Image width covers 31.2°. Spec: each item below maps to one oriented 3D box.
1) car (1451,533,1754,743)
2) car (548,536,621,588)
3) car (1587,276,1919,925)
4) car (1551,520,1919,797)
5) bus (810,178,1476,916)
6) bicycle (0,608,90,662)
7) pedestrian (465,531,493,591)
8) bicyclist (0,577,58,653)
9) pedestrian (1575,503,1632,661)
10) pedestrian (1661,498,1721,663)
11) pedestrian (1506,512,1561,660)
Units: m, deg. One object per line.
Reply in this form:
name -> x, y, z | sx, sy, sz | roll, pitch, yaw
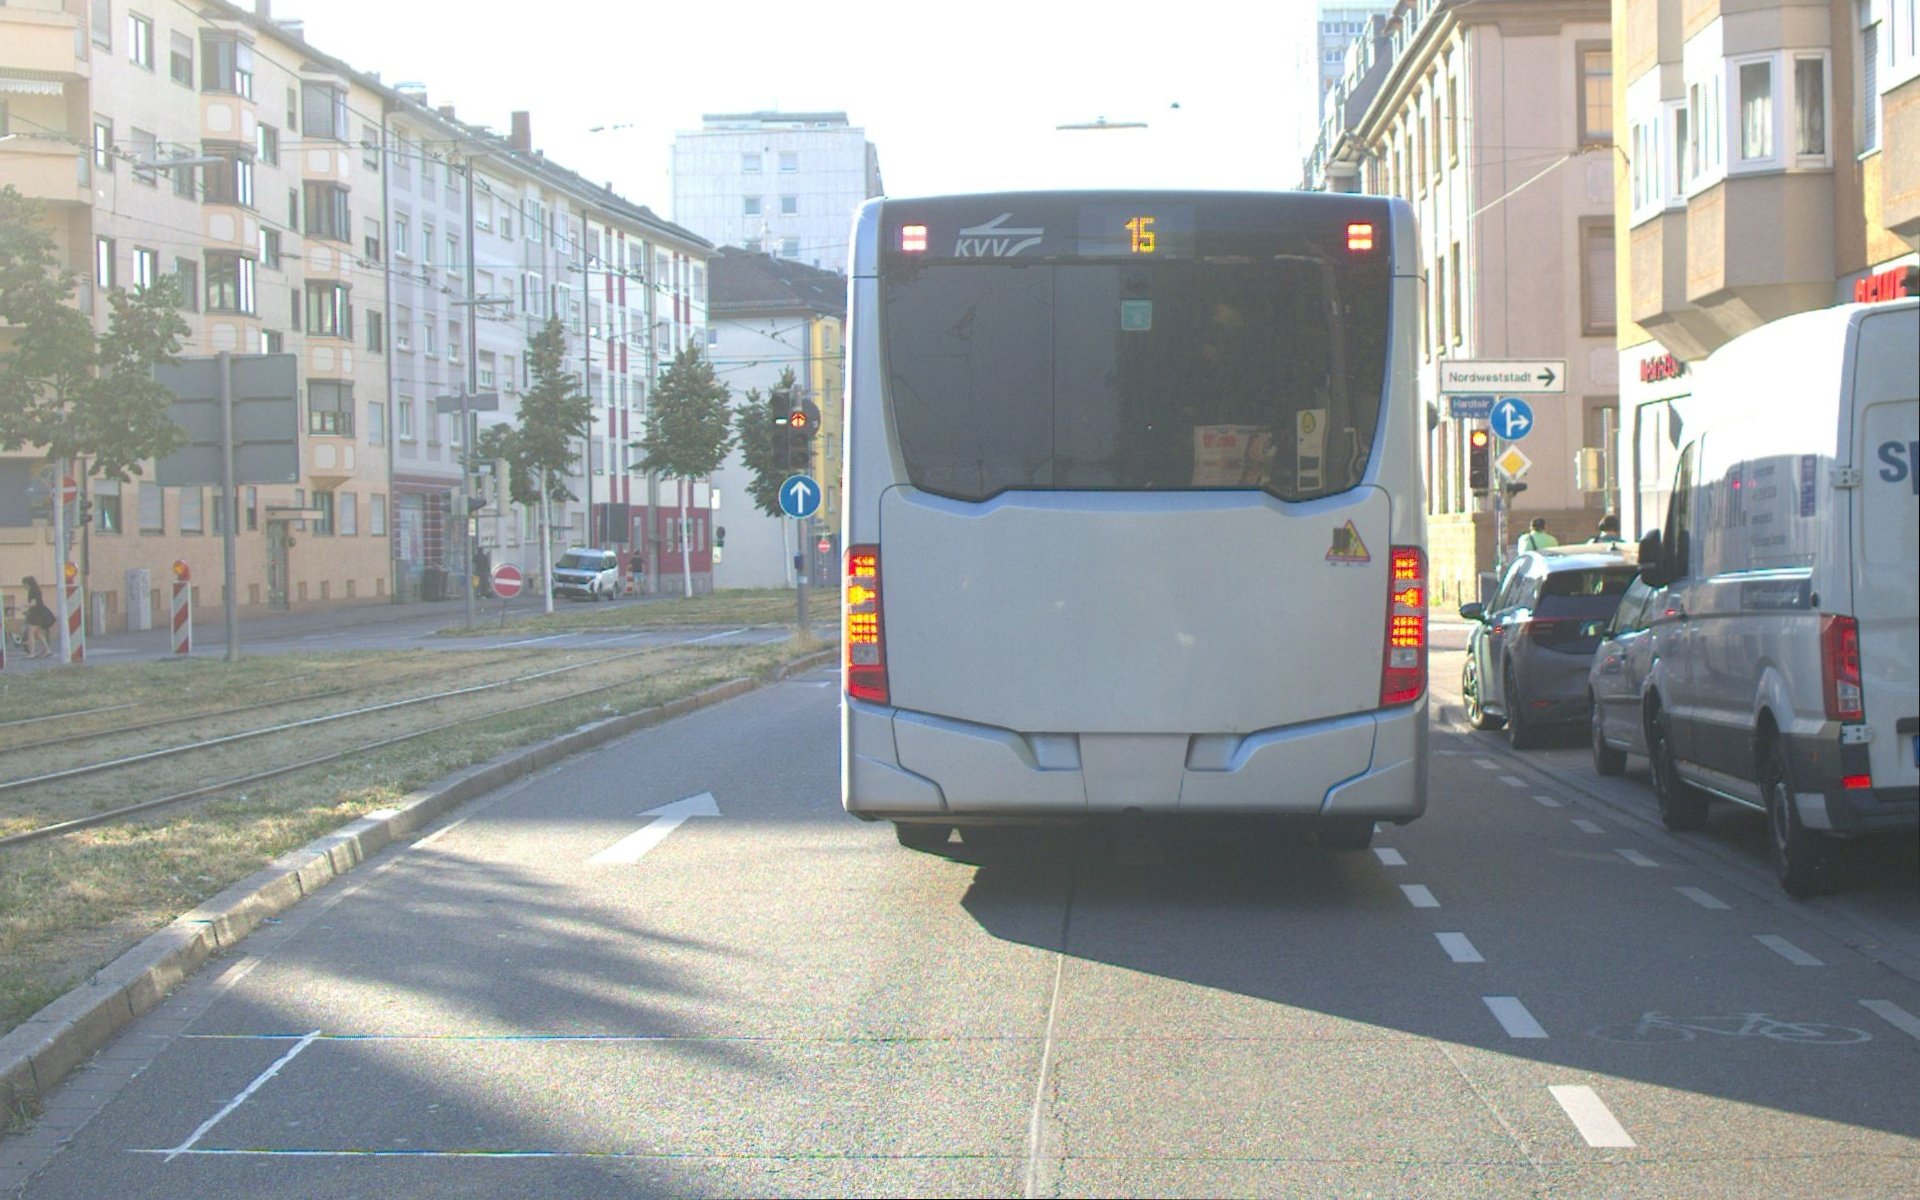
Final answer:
car -> 5.096, 0.252, 27.773 | 1.838, 1.531, 4.229 | -1, 1, 3
car -> -13.375, -1.363, 122.691 | 1.812, 1.791, 4.244 | -1, 1, 4
car -> 4.500, -0.096, 16.483 | 2.017, 2.542, 5.784 | -4, 1, 3
car -> 4.945, 0.313, 21.965 | 1.838, 1.582, 3.785 | -1, 1, 3
bus -> 0.976, -0.298, 18.719 | 2.739, 3.045, 8.853 | 1, 1, 3
bicycle -> -17.890, 0.676, 67.080 | 0.528, 0.980, 1.879 | -1, 1, 34
pedestrian -> -16.033, -1.304, 114.594 | 0.786, 2.007, 0.891 | -1, 1, 0
bicyclist -> -18.097, 0.285, 66.832 | 0.528, 1.442, 0.963 | -1, 1, 34
pedestrian -> 7.340, -0.205, 39.242 | 0.547, 1.778, 0.449 | -1, 1, 3
pedestrian -> 7.955, -0.217, 37.397 | 0.547, 1.778, 0.449 | 1, 0, 3
pedestrian -> 6.964, -0.177, 41.740 | 0.547, 1.778, 0.449 | -1, 1, -2
